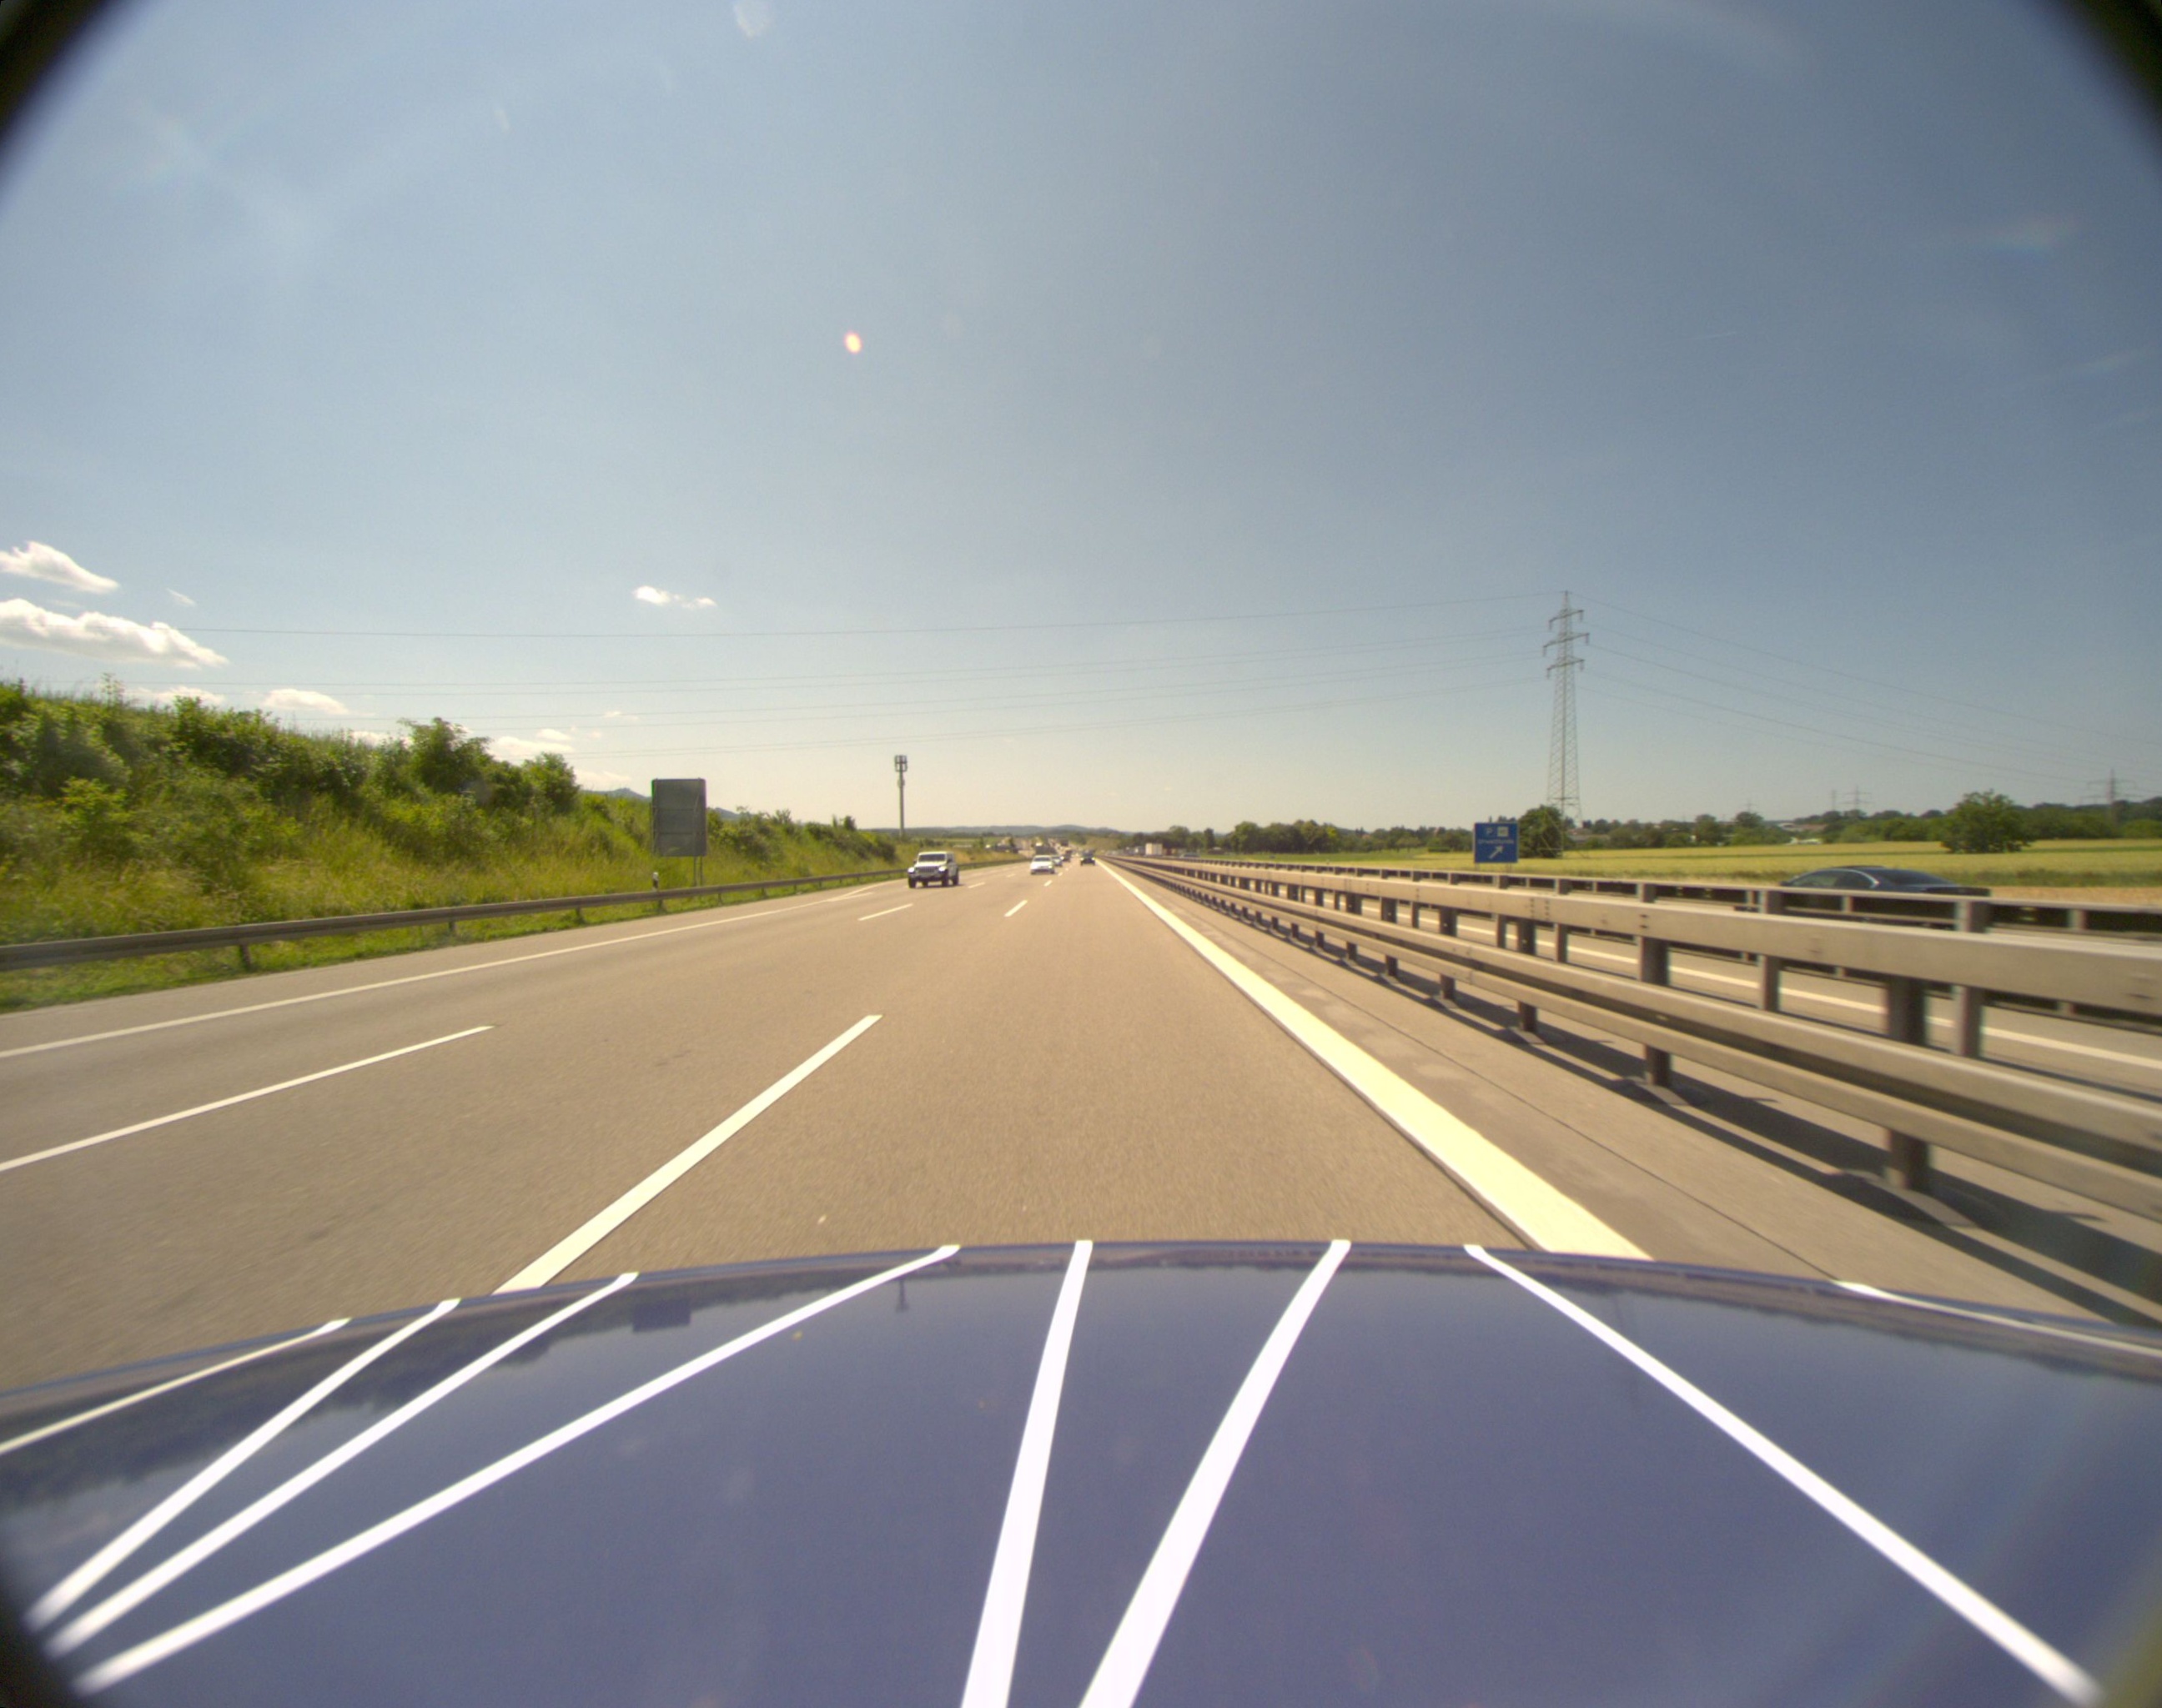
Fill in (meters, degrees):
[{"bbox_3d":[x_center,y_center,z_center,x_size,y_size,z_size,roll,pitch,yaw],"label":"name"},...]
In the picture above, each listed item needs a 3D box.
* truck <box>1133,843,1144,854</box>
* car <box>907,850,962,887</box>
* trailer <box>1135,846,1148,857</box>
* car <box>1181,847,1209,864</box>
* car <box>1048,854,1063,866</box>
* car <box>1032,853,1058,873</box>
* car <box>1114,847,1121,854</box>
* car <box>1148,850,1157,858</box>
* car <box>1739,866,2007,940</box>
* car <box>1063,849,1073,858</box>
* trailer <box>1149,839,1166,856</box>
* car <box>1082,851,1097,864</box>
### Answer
[{"bbox_3d":[19.508,-1.978,256.791,2.725,3.669,6.053,-2,1,-4],"label":"truck"},{"bbox_3d":[-7.668,0.718,40.245,2.040,1.794,4.250,-2,1,0],"label":"car"},{"bbox_3d":[19.963,-0.845,250.182,2.714,3.671,11.354,-2,1,-3],"label":"trailer"},{"bbox_3d":[10.934,0.134,73.349,1.812,1.431,5.283,2,1,-1],"label":"car"},{"bbox_3d":[-3.007,0.701,90.751,1.634,1.381,3.999,-2,1,-1],"label":"car"},{"bbox_3d":[-2.805,0.655,60.482,1.780,1.425,4.690,-2,1,0],"label":"car"},{"bbox_3d":[11.629,-1.134,240.656,1.989,1.998,4.648,1,0,0],"label":"car"},{"bbox_3d":[14.764,0.000,157.750,1.486,1.417,3.609,1,0,-1],"label":"car"},{"bbox_3d":[16.685,0.965,16.361,1.577,1.299,4.041,0,0,1],"label":"car"},{"bbox_3d":[-2.446,-0.085,138.814,1.751,1.559,3.999,-2,1,-1],"label":"car"},{"bbox_3d":[18.710,-1.677,186.893,2.840,4.023,11.664,-2,1,0],"label":"trailer"},{"bbox_3d":[1.004,0.431,94.968,1.751,1.439,3.999,-2,1,-1],"label":"car"}]
